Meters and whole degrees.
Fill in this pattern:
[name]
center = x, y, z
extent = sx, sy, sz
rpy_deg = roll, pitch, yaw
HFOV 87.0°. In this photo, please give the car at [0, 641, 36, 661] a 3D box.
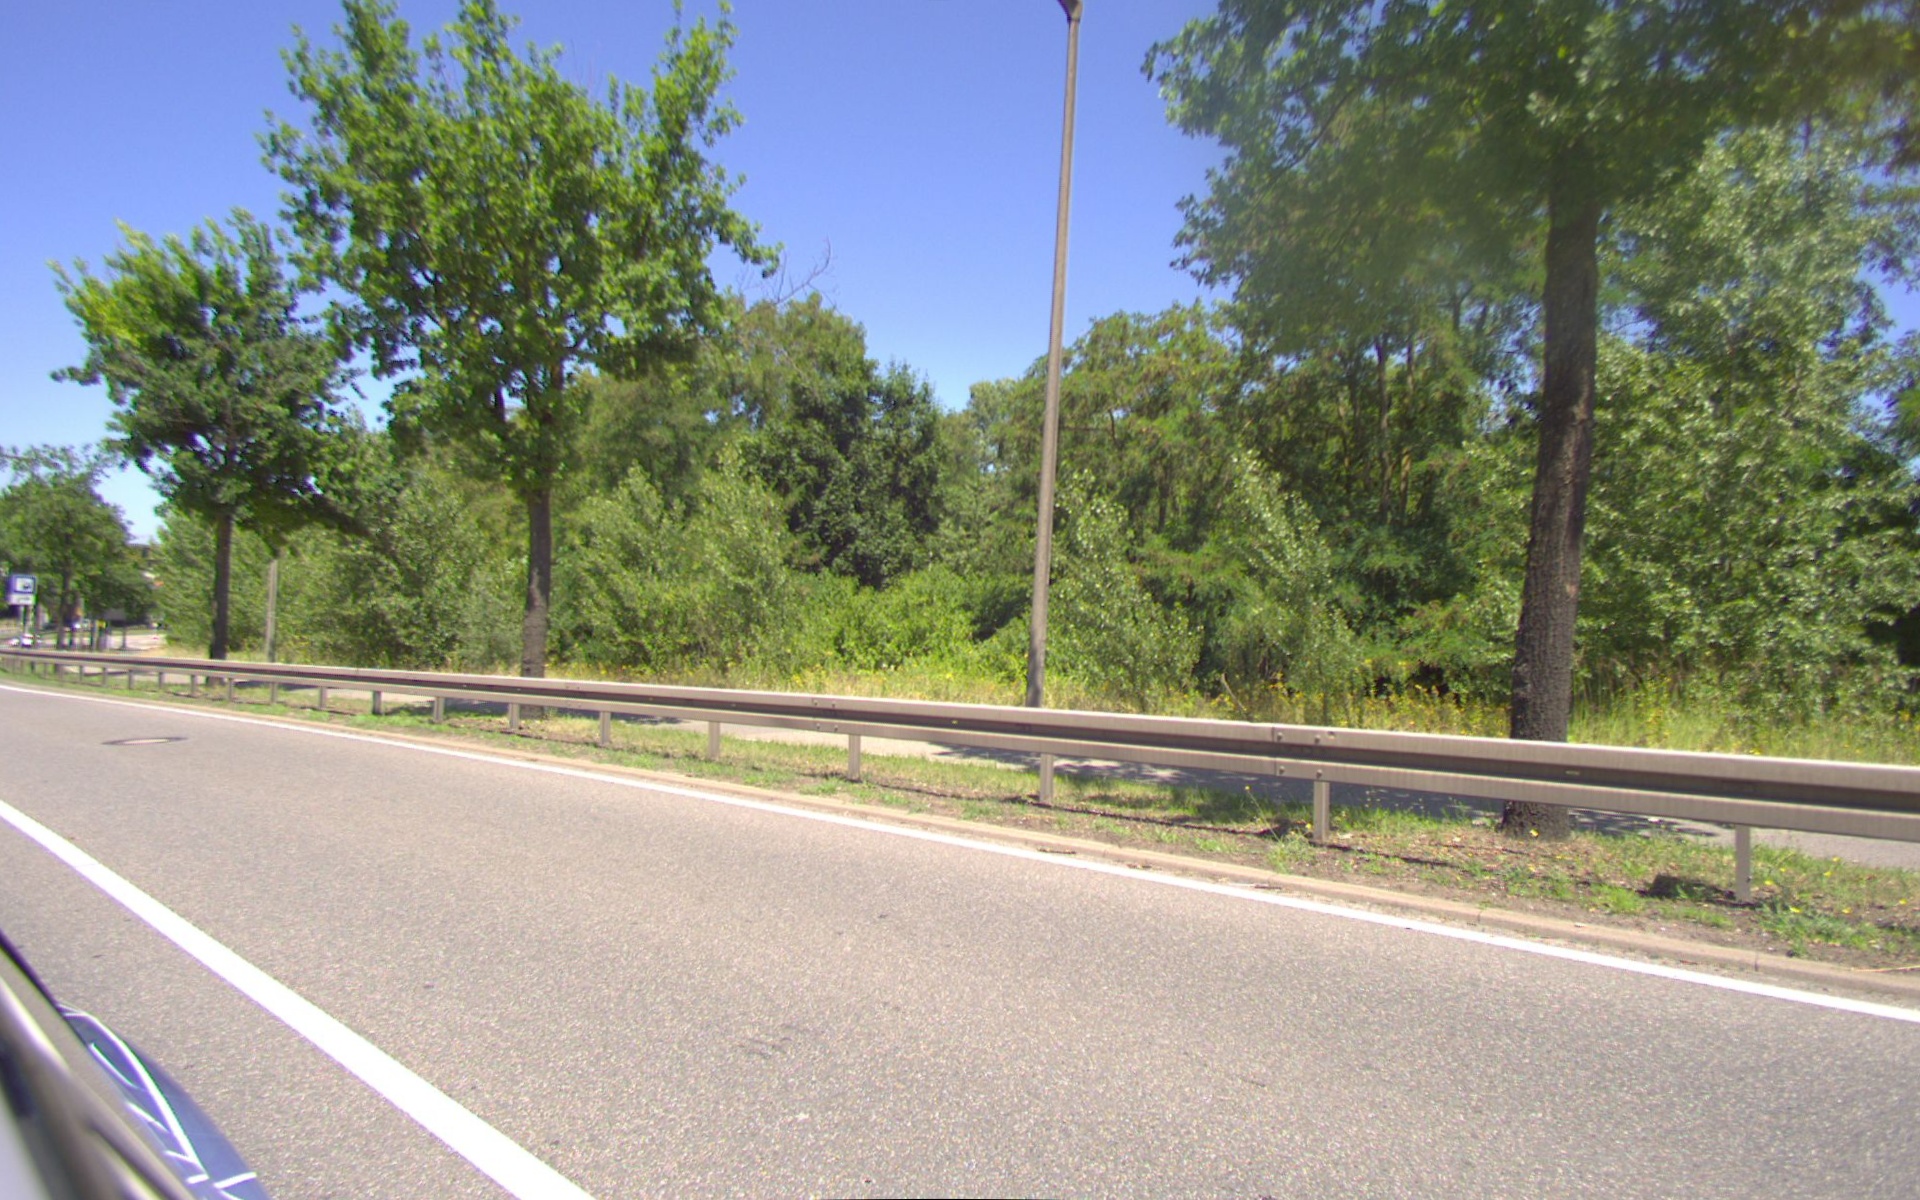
[car]
center = -76.538, 4.113, 82.252
extent = 1.753, 1.454, 4.008
rpy_deg = -1, 0, -38
